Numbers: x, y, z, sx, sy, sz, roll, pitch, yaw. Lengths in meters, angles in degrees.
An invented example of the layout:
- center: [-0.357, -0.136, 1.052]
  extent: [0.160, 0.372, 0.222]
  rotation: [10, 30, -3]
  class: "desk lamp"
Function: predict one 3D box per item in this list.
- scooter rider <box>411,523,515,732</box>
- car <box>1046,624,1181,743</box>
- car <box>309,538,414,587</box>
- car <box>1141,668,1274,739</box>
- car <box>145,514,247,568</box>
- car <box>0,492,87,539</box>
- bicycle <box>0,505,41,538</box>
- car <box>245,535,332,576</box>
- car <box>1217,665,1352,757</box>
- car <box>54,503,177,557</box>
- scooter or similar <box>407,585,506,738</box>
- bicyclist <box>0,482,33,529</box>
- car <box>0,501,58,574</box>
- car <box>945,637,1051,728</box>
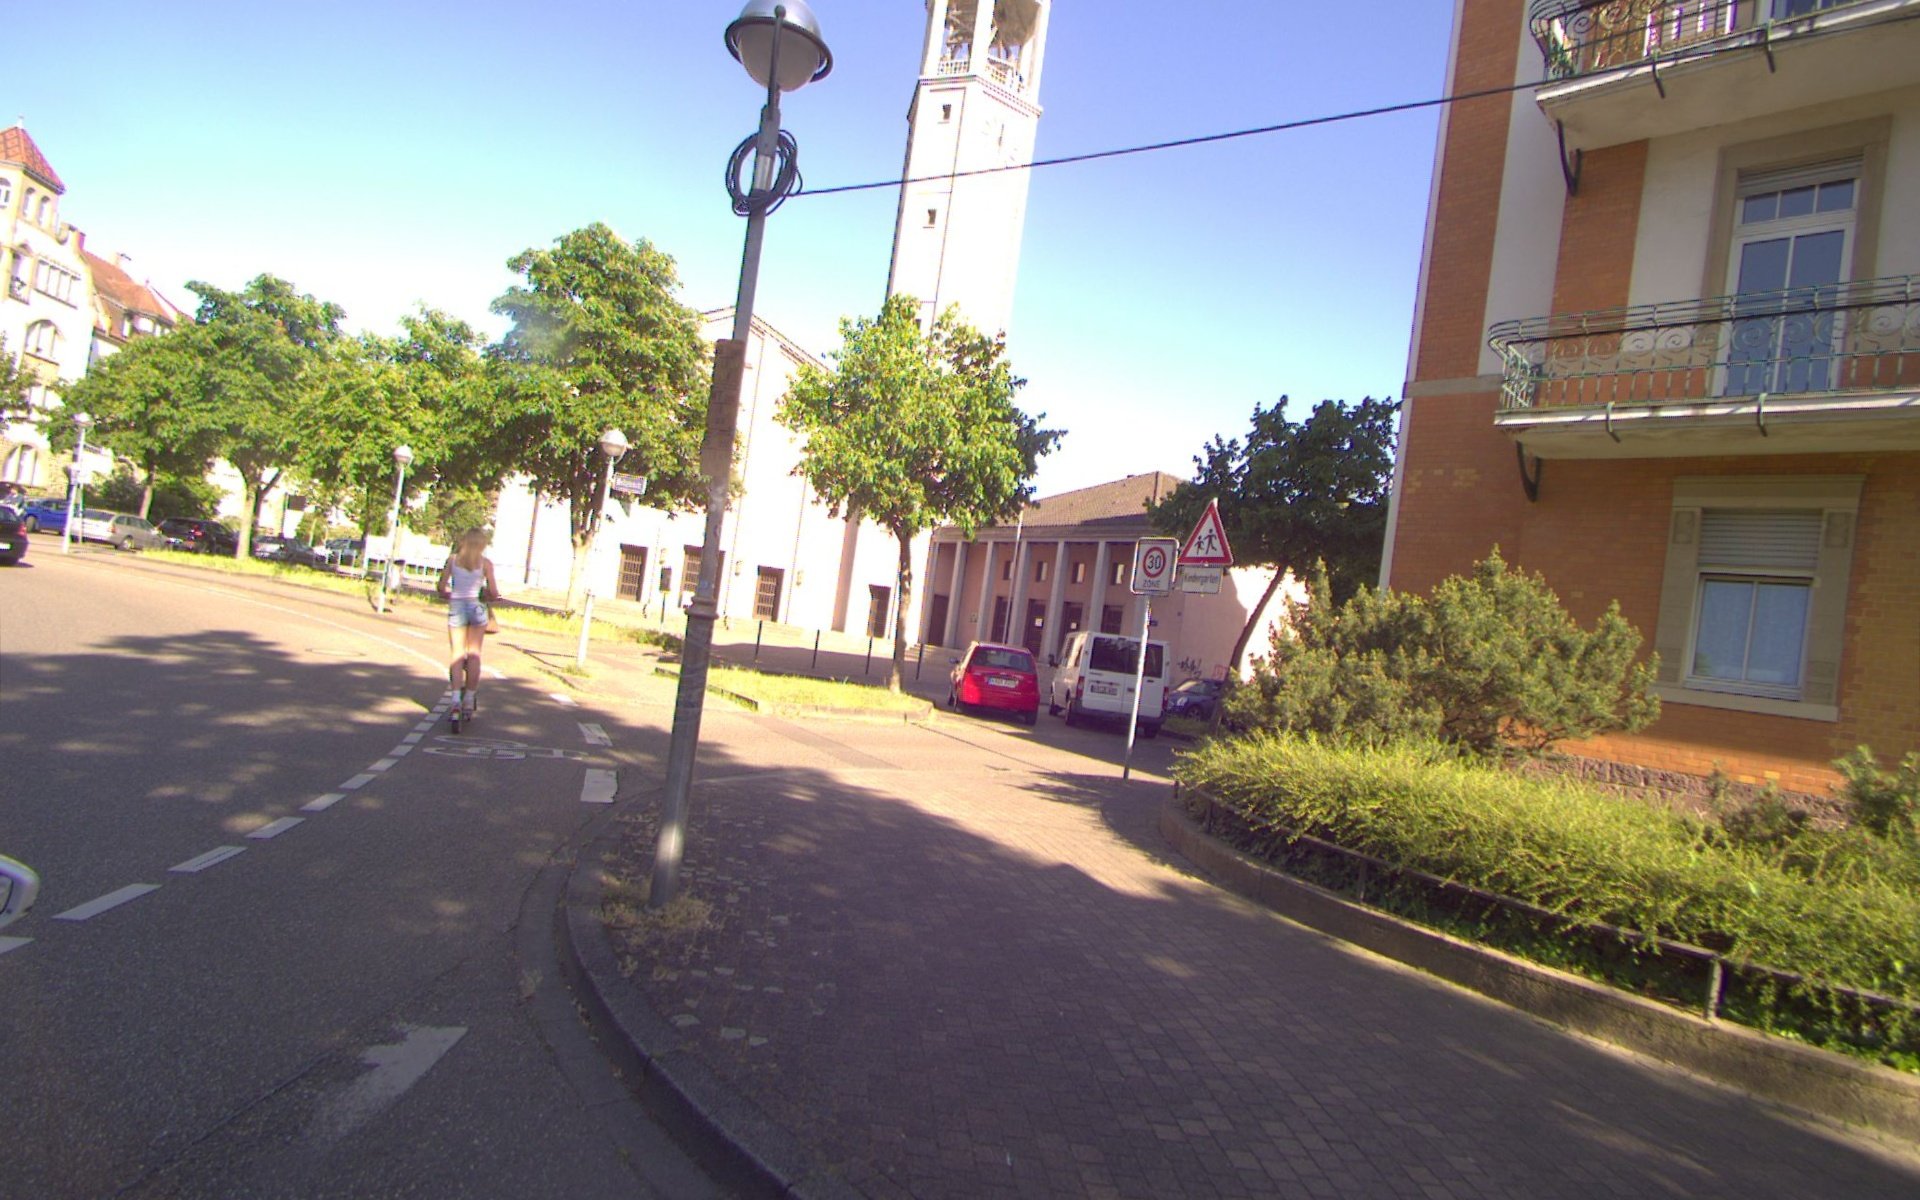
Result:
- center: [-4.686, 0.258, 9.523]
  extent: [0.618, 1.853, 0.628]
  rotation: [8, -1, -24]
  class: "scooter rider"
- center: [3.213, 1.733, 22.134]
  extent: [1.958, 2.068, 4.708]
  rotation: [8, -2, 0]
  class: "car"
- center: [-35.074, -2.162, 59.090]
  extent: [4.710, 2.023, 1.805]
  rotation: [10, -2, -16]
  class: "car"
- center: [7.196, 3.006, 29.138]
  extent: [3.583, 1.440, 1.598]
  rotation: [10, 2, -35]
  class: "car"
- center: [-32.693, -2.487, 43.201]
  extent: [1.783, 1.747, 4.327]
  rotation: [9, -2, -16]
  class: "car"
- center: [-40.722, -3.732, 43.995]
  extent: [1.780, 1.580, 4.391]
  rotation: [6, -1, -12]
  class: "car"
- center: [-37.964, -3.167, 40.388]
  extent: [0.635, 1.120, 1.715]
  rotation: [8, -2, -11]
  class: "bicycle"
- center: [-34.011, -2.201, 51.081]
  extent: [1.780, 1.490, 4.336]
  rotation: [9, -3, -8]
  class: "car"
- center: [8.021, 2.705, 25.269]
  extent: [1.730, 1.758, 3.956]
  rotation: [8, -2, -3]
  class: "car"
- center: [-31.860, -2.582, 38.124]
  extent: [1.783, 1.431, 4.327]
  rotation: [9, -3, -16]
  class: "car"
- center: [-4.729, 0.554, 9.517]
  extent: [0.625, 1.297, 1.100]
  rotation: [9, -1, -24]
  class: "scooter or similar"
- center: [-37.847, -3.771, 40.262]
  extent: [0.635, 1.734, 0.722]
  rotation: [8, -1, -11]
  class: "bicyclist"
- center: [-22.041, -1.604, 21.651]
  extent: [3.924, 1.435, 1.873]
  rotation: [8, -1, 13]
  class: "car"
- center: [0.688, 1.606, 20.577]
  extent: [1.639, 1.451, 3.696]
  rotation: [8, -2, -3]
  class: "car"
